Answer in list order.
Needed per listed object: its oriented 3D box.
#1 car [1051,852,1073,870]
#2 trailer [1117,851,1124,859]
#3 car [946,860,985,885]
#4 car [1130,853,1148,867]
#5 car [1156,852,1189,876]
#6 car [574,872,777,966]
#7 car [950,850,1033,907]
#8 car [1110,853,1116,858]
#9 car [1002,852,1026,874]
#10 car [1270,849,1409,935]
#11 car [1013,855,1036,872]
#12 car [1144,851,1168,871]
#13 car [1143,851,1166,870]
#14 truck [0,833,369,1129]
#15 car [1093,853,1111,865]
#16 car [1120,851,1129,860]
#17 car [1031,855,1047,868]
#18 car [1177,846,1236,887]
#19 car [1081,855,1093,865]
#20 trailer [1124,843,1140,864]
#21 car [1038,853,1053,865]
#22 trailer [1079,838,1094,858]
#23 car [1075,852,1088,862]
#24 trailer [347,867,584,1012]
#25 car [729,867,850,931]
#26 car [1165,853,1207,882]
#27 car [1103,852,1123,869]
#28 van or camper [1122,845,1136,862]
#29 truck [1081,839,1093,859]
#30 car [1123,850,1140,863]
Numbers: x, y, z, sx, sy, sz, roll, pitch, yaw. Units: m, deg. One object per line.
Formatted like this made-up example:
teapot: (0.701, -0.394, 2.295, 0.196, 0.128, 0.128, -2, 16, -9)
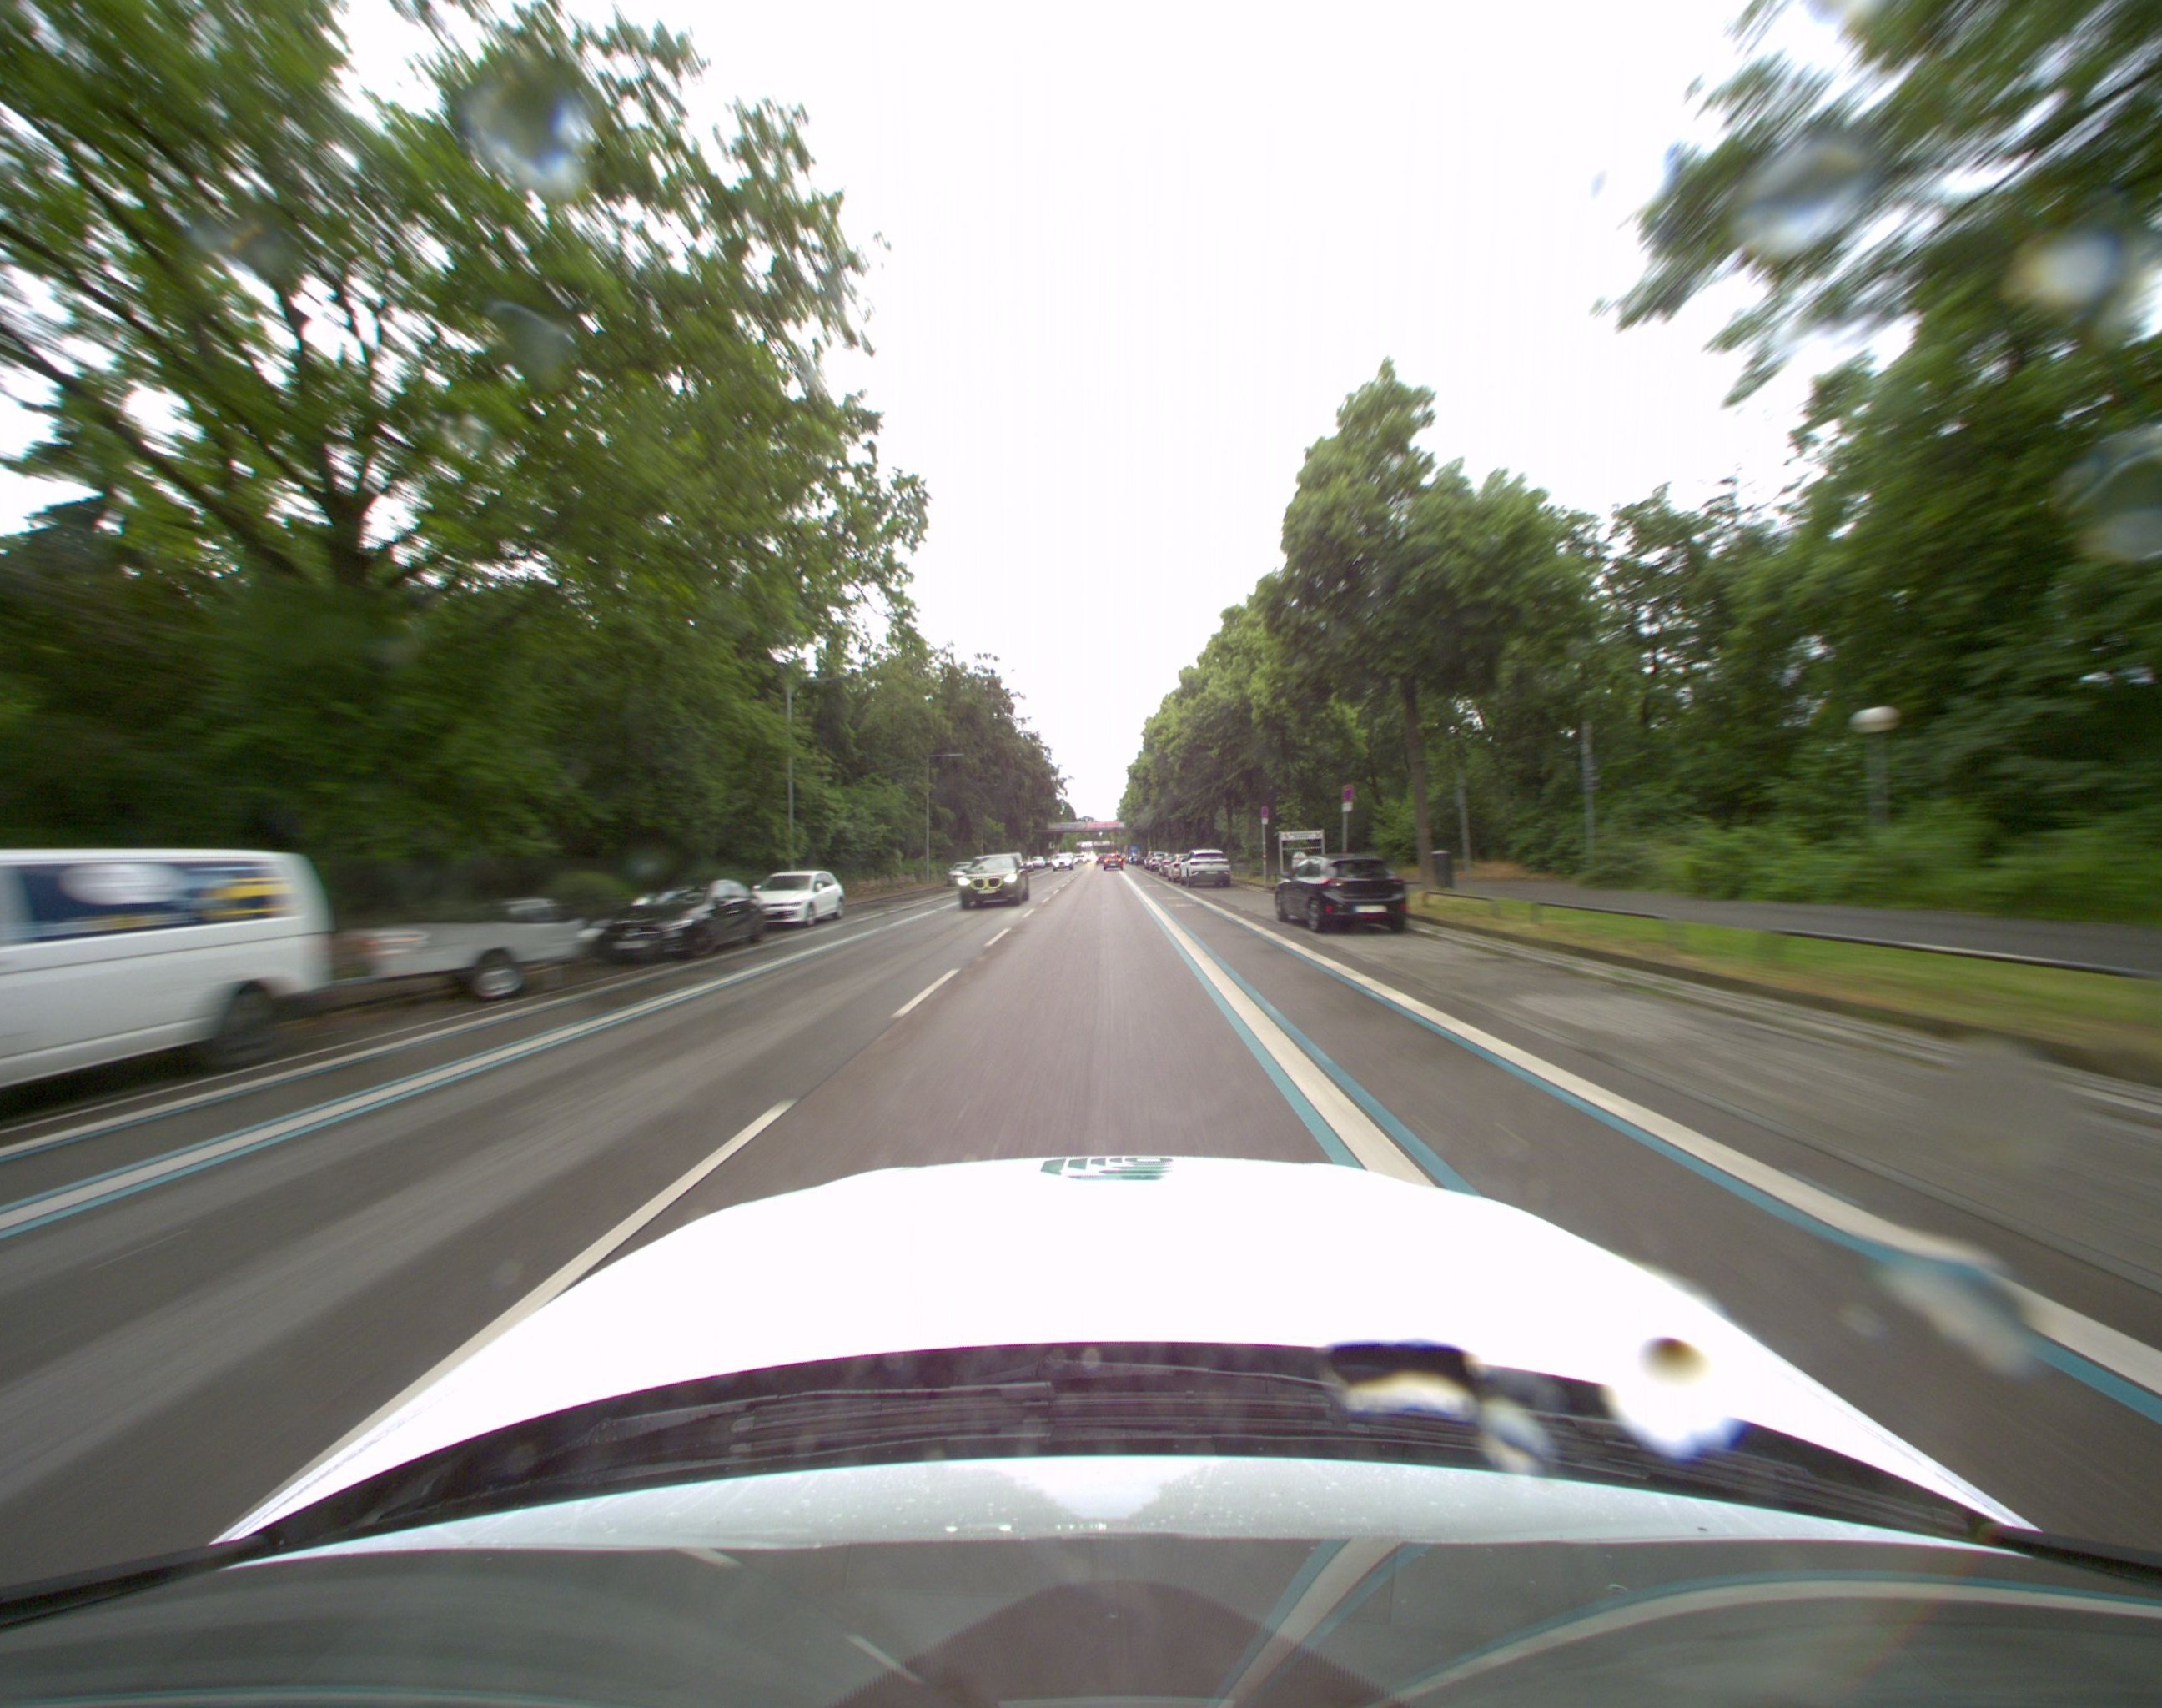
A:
car: (-1.832, 0.634, 80.707, 1.947, 1.639, 4.445, -2, 0, 1)
trailer: (10.883, 0.215, 224.393, 1.876, 2.166, 3.810, -2, 0, 2)
car: (-7.142, 1.119, 50.782, 1.683, 1.405, 4.030, -1, 0, 2)
car: (6.817, 0.703, 95.507, 1.819, 1.503, 4.572, -1, 0, 1)
car: (5.867, 0.610, 52.662, 1.692, 1.453, 4.097, -1, 0, 0)
car: (-7.710, 1.150, 16.043, 1.816, 1.398, 4.443, -2, 0, -1)
car: (-2.859, 0.746, 27.011, 2.030, 1.649, 4.479, -3, 0, 2)
car: (9.416, 0.407, 241.830, 1.724, 1.583, 4.039, -2, 0, 3)
car: (-6.190, 0.805, 75.843, 1.969, 2.005, 5.013, -1, 0, -3)
car: (5.044, 0.665, 16.448, 1.688, 1.476, 4.001, -2, 0, 3)
car: (-5.858, 0.972, 84.761, 2.003, 1.605, 4.780, -2, 0, 1)
car: (6.069, 0.546, 66.477, 1.691, 1.513, 4.471, -1, 0, 2)
car: (6.500, 0.538, 72.446, 1.747, 1.597, 4.741, -1, 0, 1)
truck: (-8.445, 0.896, 5.876, 2.087, 2.013, 5.156, -2, 0, -1)
car: (2.726, 0.626, 105.136, 2.134, 1.492, 4.497, -1, 0, -1)
car: (9.639, 0.335, 181.042, 1.919, 2.022, 4.665, -1, 0, 2)
car: (-5.187, 0.933, 101.446, 1.784, 1.482, 3.981, -2, 0, 0)
car: (5.526, 0.507, 36.368, 1.986, 1.662, 4.564, -2, 0, 2)
car: (1.036, 1.094, 141.394, 1.954, 1.617, 4.467, -3, 0, 1)
trailer: (6.933, -0.120, 110.534, 1.945, 2.758, 4.008, -1, 0, 1)
car: (-4.856, 0.697, 111.903, 1.826, 1.477, 4.038, -2, 0, -1)
trailer: (1.217, -1.209, 187.438, 2.680, 4.258, 12.762, -4, 0, -1)
car: (0.100, 0.425, 126.559, 1.770, 1.466, 4.063, -4, 0, 0)
trailer: (-8.282, 1.058, 11.050, 1.334, 1.657, 2.280, -2, 0, 39)
car: (-7.957, 1.179, 22.696, 1.749, 1.435, 4.356, -2, 0, 0)
car: (5.448, 0.675, 42.524, 1.692, 1.453, 3.946, -1, 0, 0)
car: (2.912, 0.550, 73.918, 1.811, 1.508, 4.141, -1, 0, 2)
van or camper: (8.287, -0.097, 141.518, 2.035, 2.729, 6.901, -1, 0, 1)
truck: (1.338, -1.111, 180.504, 2.510, 4.046, 4.916, -4, 0, 0)
car: (6.445, 0.295, 104.729, 1.894, 1.547, 4.753, 0, 0, -1)
